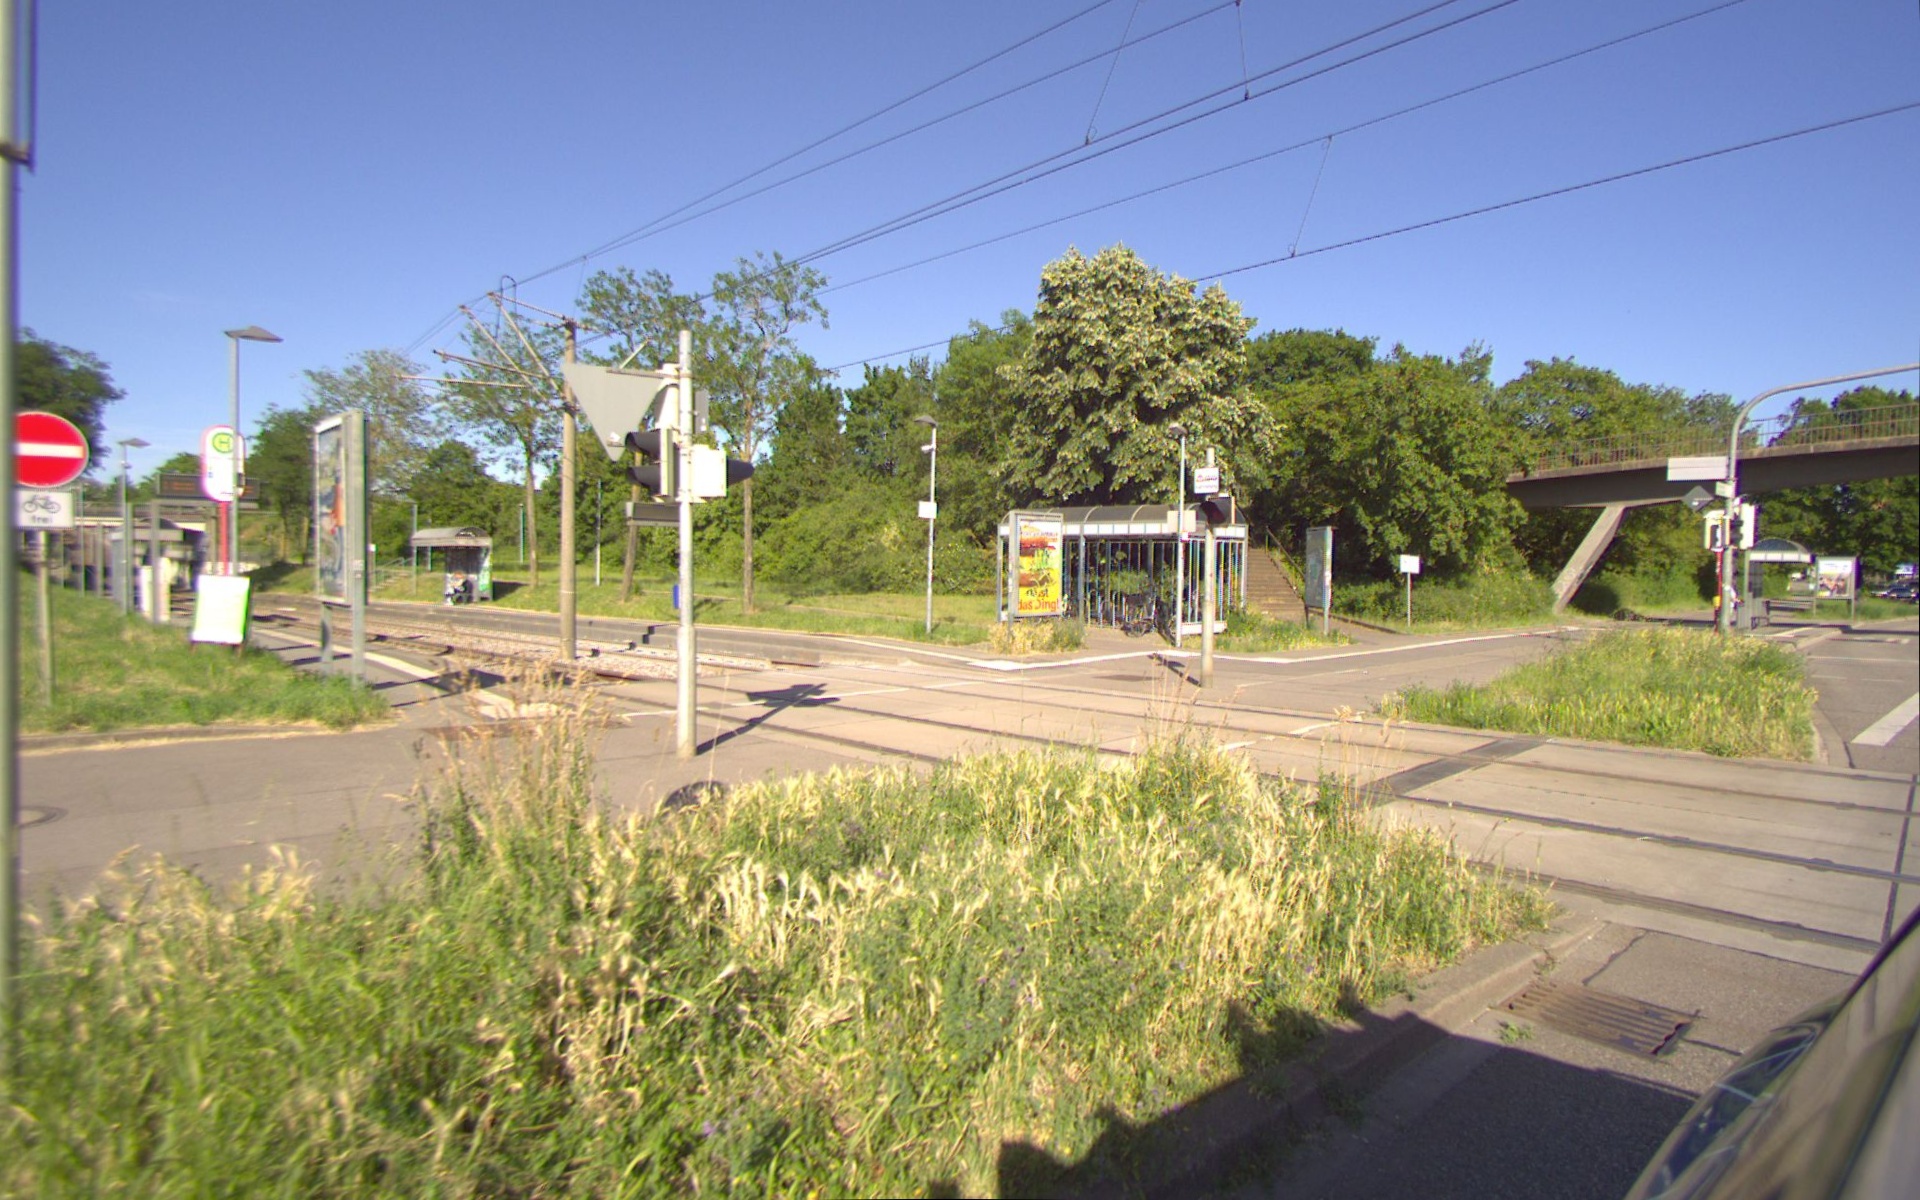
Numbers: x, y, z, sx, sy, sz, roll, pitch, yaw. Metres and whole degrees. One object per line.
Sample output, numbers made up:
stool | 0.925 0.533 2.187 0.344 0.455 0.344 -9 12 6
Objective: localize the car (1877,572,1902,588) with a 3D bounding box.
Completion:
car | 97.941 -2.098 106.651 1.867 1.641 3.779 1 2 41

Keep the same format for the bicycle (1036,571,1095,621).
bicycle | 2.707 -0.123 25.765 1.756 1.079 0.431 -7 8 -42

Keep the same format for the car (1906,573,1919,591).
car | 88.631 -1.642 93.302 1.867 1.641 3.779 1 2 42

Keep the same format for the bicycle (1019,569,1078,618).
bicycle | 2.302 -0.183 26.234 1.756 1.079 0.431 -7 8 -42

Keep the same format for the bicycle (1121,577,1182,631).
bicycle | 4.489 0.070 23.625 1.756 1.079 0.431 -7 8 -42

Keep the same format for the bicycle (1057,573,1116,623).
bicycle | 3.176 -0.064 25.293 1.756 1.079 0.431 -7 8 -42

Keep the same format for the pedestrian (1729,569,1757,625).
pedestrian | 24.471 -0.102 31.630 0.588 1.682 0.705 3 2 43

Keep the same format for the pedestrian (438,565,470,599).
pedestrian | -19.511 -0.705 39.013 0.925 1.258 0.560 -5 4 -41
